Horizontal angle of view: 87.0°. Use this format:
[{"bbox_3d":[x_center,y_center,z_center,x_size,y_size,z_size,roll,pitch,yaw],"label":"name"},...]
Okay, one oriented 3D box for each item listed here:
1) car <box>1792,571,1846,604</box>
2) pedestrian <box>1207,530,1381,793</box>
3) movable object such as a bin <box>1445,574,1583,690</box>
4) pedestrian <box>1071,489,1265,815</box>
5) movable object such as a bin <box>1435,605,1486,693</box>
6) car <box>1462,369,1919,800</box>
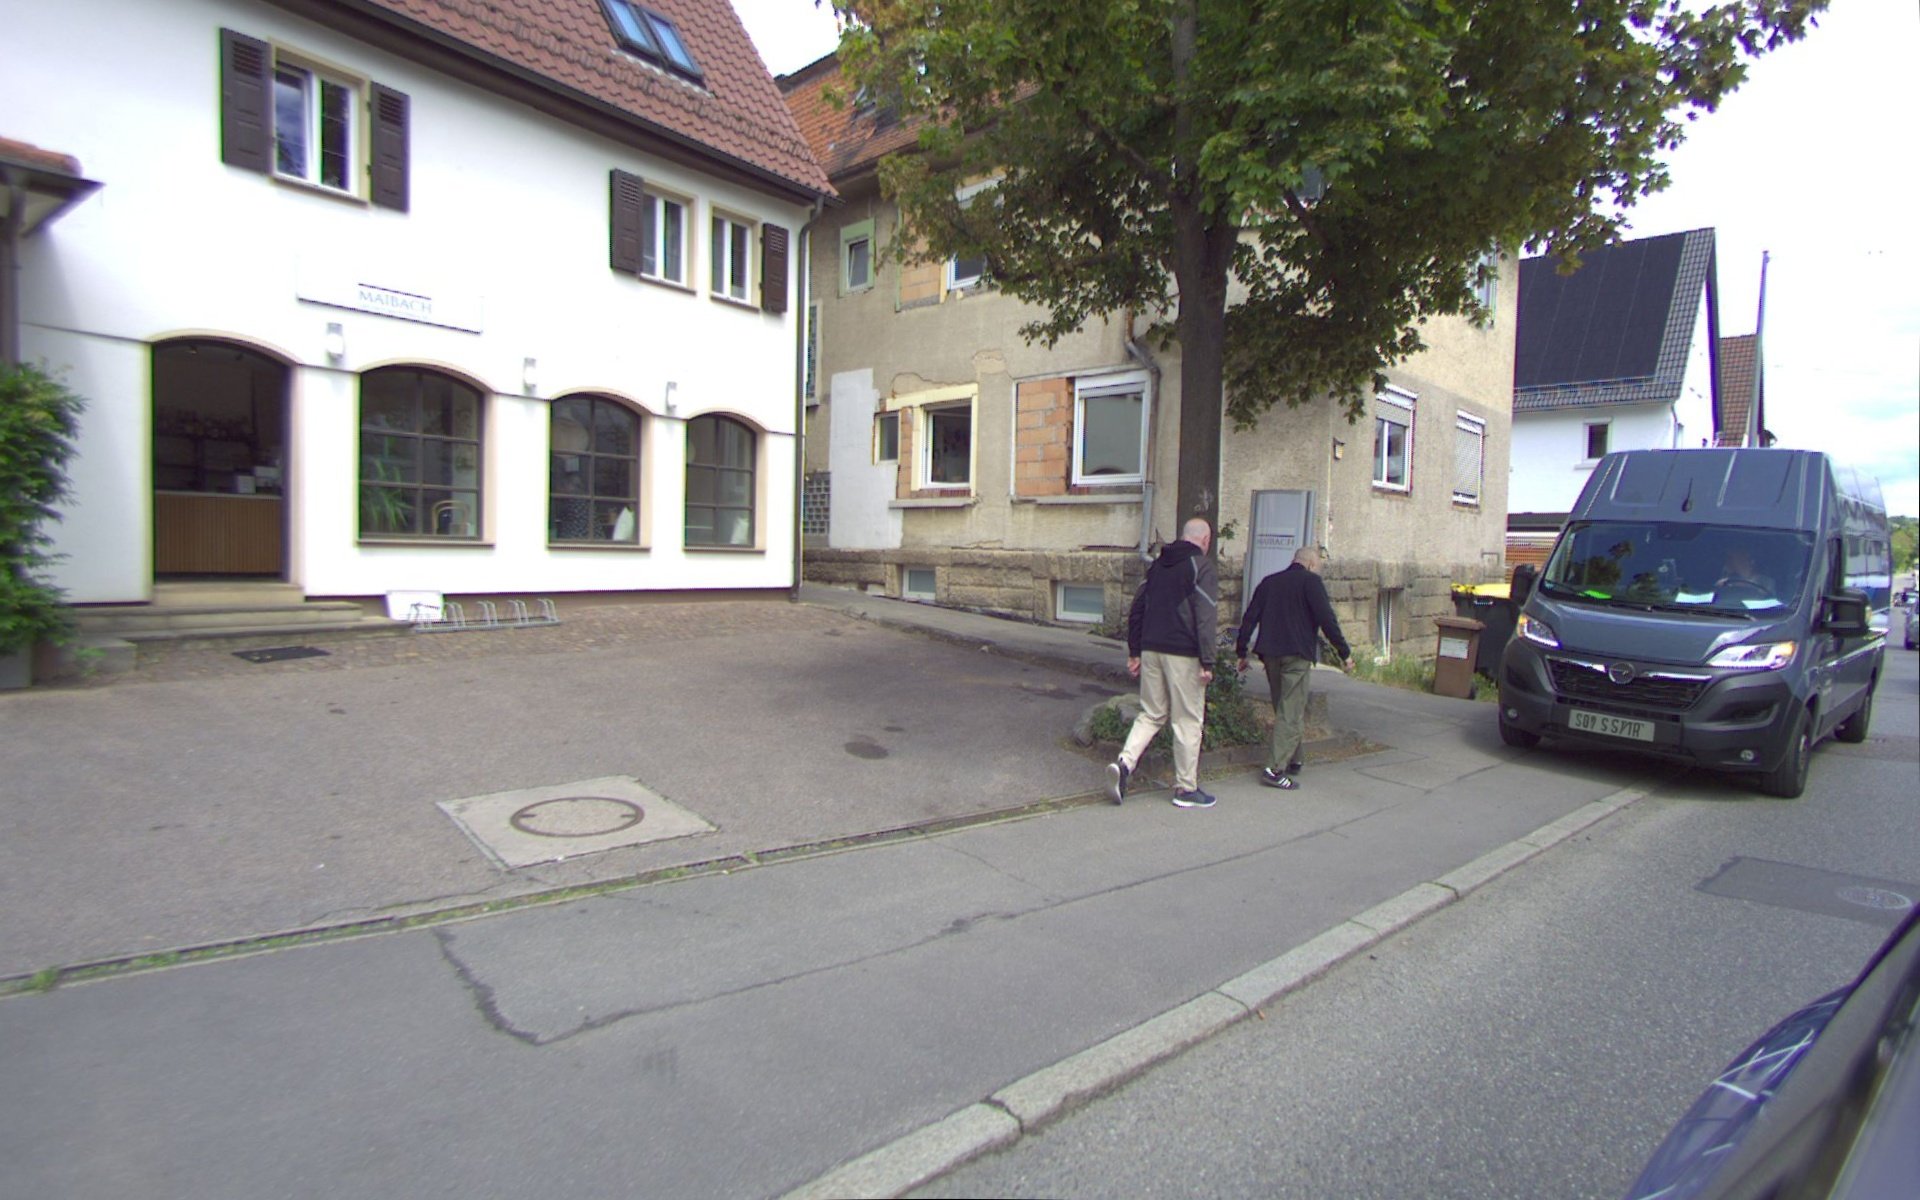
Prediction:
[{"bbox_3d":[46.859,-0.708,55.201,1.994,1.638,4.037,5,4,43],"label":"car"},{"bbox_3d":[2.277,0.373,6.932,0.783,1.663,0.787,0,2,-38],"label":"pedestrian"},{"bbox_3d":[6.704,0.348,12.339,1.169,1.281,1.204,2,2,15],"label":"movable object such as a bin"},{"bbox_3d":[1.269,0.271,6.175,0.884,1.804,0.741,0,2,-42],"label":"pedestrian"},{"bbox_3d":[5.784,0.556,11.700,0.408,0.949,0.270,7,5,35],"label":"movable object such as a bin"},{"bbox_3d":[7.112,-0.161,9.438,6.141,2.804,2.152,0,3,-42],"label":"car"}]
